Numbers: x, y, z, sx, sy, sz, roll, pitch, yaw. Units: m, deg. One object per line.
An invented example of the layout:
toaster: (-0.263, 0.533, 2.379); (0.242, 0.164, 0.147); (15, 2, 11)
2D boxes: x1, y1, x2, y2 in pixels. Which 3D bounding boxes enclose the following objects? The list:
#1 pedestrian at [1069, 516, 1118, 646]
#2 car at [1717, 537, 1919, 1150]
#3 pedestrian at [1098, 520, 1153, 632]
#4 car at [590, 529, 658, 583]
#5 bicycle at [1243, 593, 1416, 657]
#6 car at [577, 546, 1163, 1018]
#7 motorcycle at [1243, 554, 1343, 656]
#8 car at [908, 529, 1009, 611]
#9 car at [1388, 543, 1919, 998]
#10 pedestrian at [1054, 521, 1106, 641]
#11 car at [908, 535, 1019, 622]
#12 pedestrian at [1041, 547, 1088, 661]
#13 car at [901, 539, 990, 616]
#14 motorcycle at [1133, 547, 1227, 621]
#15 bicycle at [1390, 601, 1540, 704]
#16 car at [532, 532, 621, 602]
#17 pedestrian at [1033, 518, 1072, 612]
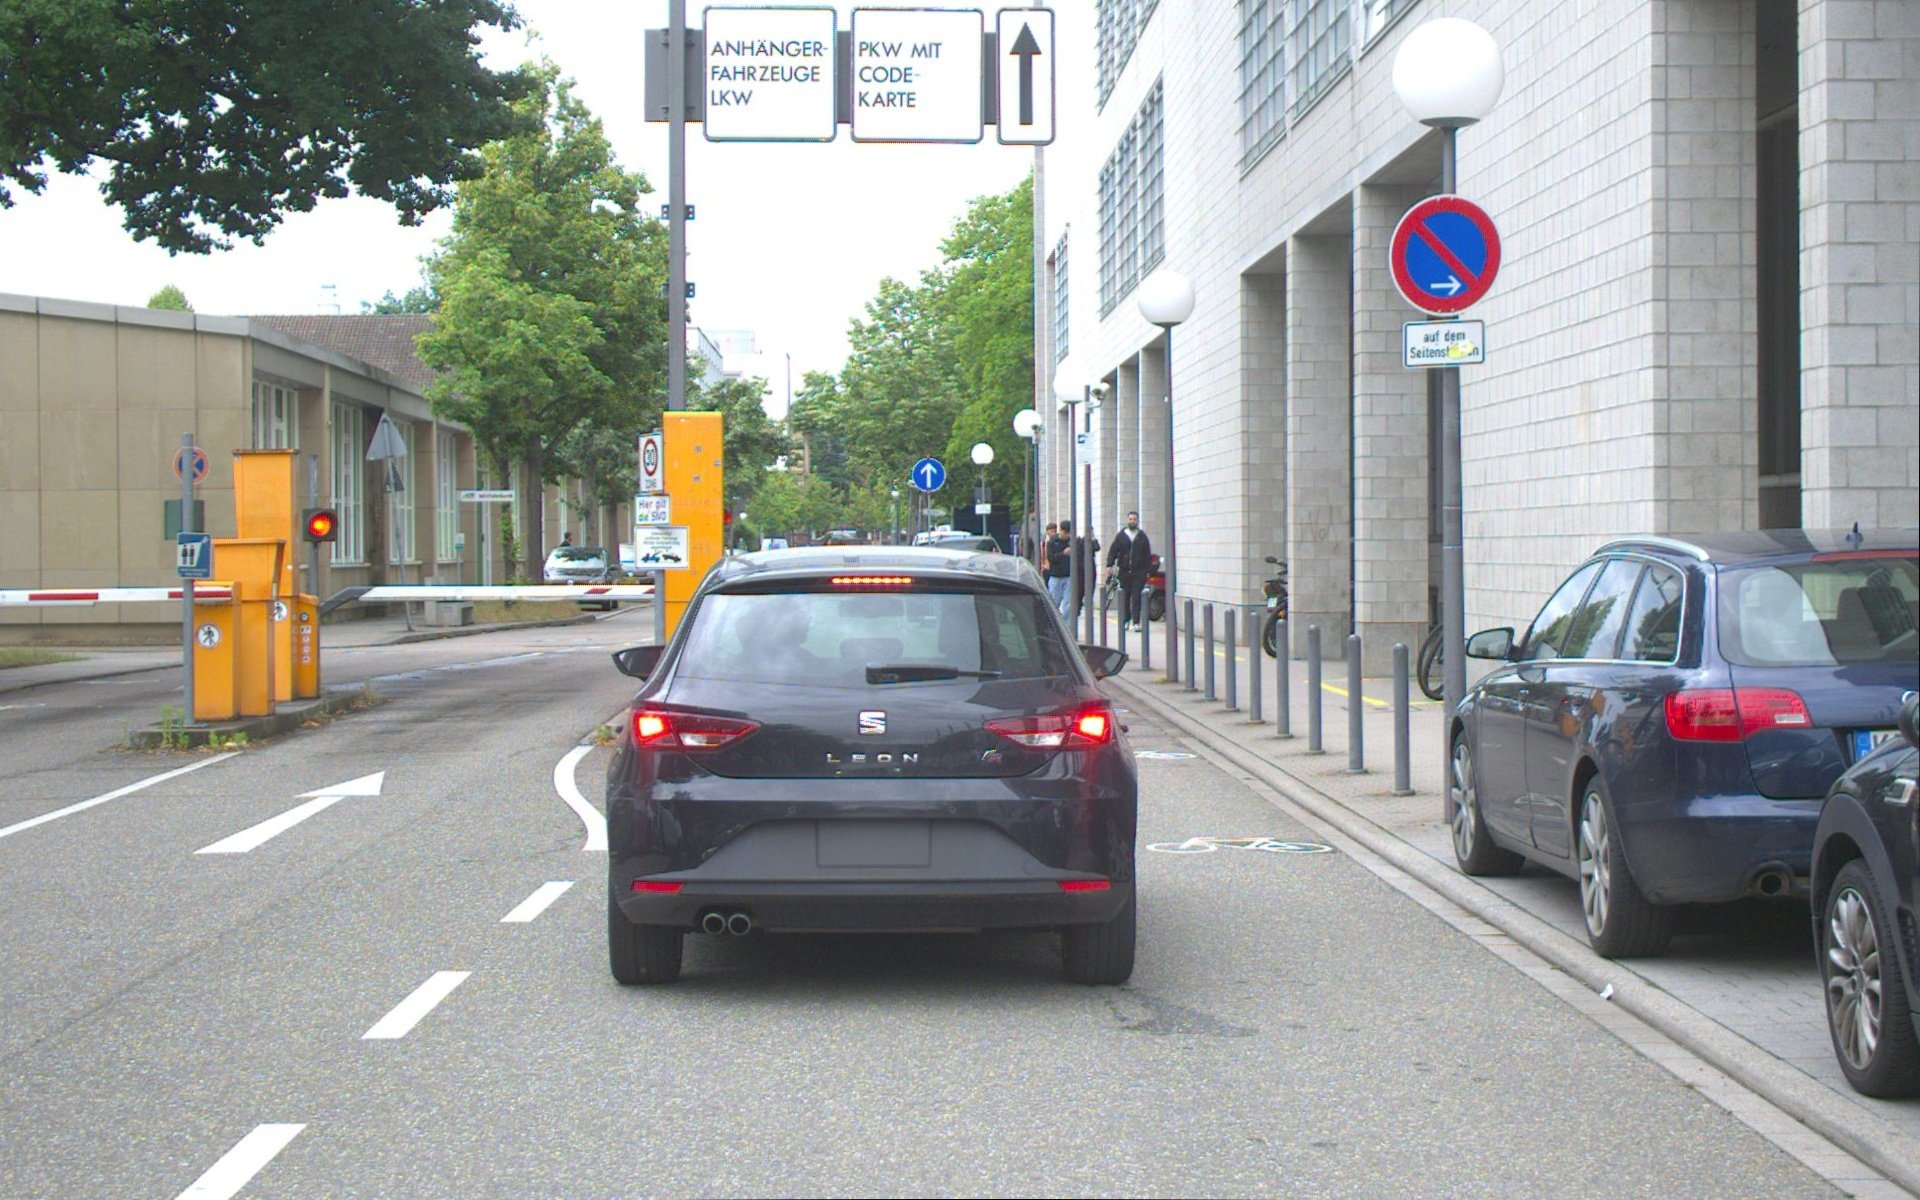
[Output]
pedestrian: (1.783, -0.259, 45.917); (0.611, 1.708, 0.574); (-1, 1, 2)
car: (3.195, 0.571, 7.645); (1.817, 1.438, 4.521); (-2, 1, -2)
pedestrian: (2.555, -0.380, 53.098); (0.727, 1.693, 0.588); (0, 3, -6)
car: (-10.006, -1.332, 102.624); (1.770, 1.595, 4.000); (0, 1, -2)
bicycle: (4.236, 0.287, 39.432); (1.896, 0.696, 0.493); (0, 3, -5)
car: (-0.344, 0.525, 12.549); (1.782, 1.414, 4.130); (0, 1, -2)
motorcycle: (4.145, 0.044, 42.604); (0.566, 1.144, 2.214); (2, 3, 23)
car: (-0.066, -0.659, 72.524); (1.993, 1.617, 4.428); (-2, 1, -1)
car: (3.038, 0.510, 13.480); (1.993, 1.447, 4.923); (-1, 1, -1)
pedestrian: (1.719, -0.275, 49.348); (0.696, 1.708, 0.489); (0, 1, -4)
car: (0.027, -0.430, 67.998); (1.993, 1.617, 4.428); (-1, 0, -2)
pedestrian: (1.581, 0.053, 52.026); (0.690, 1.693, 0.588); (1, 3, 1)
car: (-0.384, -0.578, 84.138); (1.993, 1.776, 4.428); (-2, 1, -2)
motorcycle: (3.803, -0.290, 59.189); (0.760, 1.144, 2.660); (2, 4, 23)
bicycle: (4.327, 0.433, 29.324); (0.463, 0.749, 2.291); (-4, 0, 29)
car: (-8.878, -0.788, 79.853); (1.770, 1.595, 4.001); (0, 1, -2)
pedestrian: (1.693, -0.642, 62.956); (0.696, 1.708, 0.489); (0, 1, 3)
